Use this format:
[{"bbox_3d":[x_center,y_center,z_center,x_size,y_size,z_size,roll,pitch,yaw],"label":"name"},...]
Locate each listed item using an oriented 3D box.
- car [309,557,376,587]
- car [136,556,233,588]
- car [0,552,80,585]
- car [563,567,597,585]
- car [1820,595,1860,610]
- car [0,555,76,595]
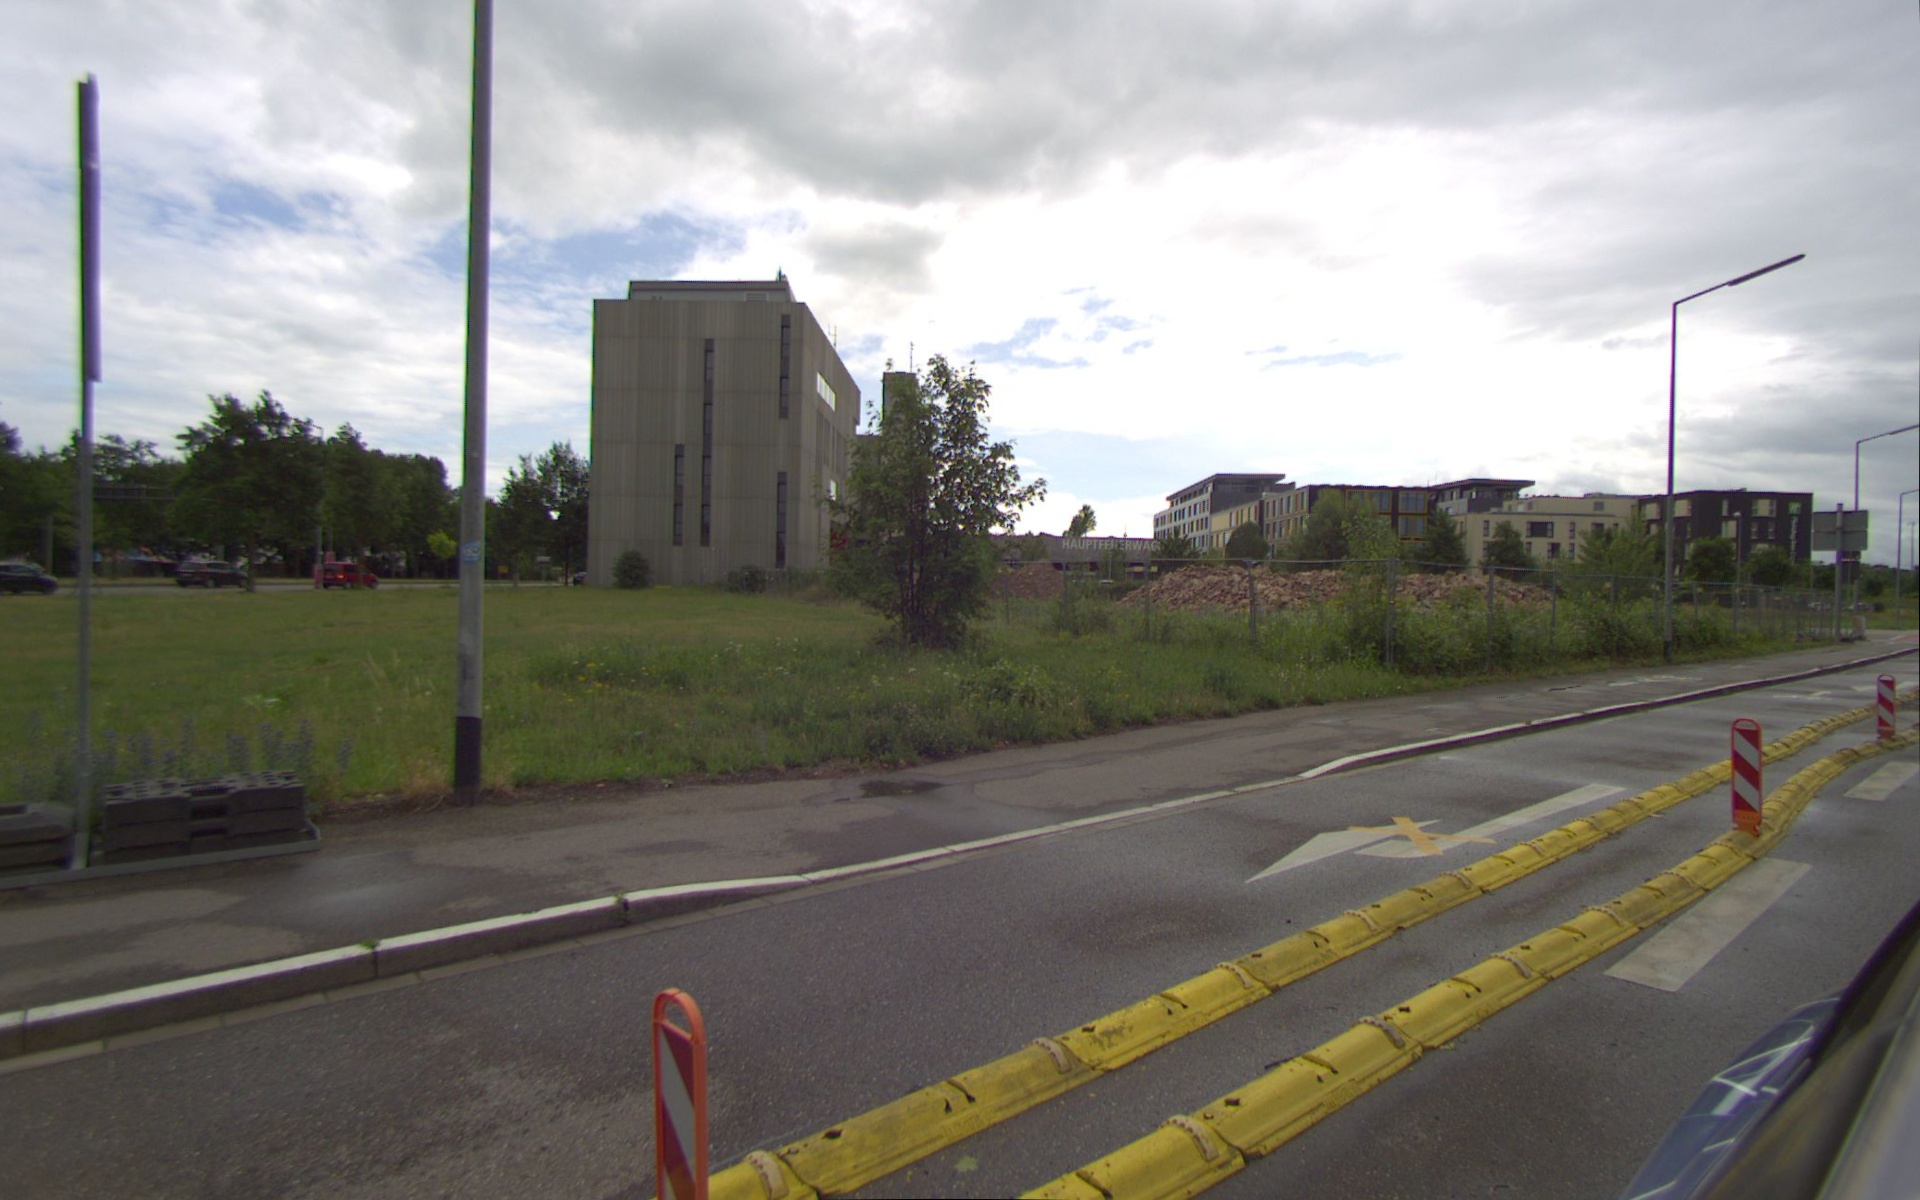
[{"bbox_3d":[-42.515,-1.931,69.796,2.075,1.941,4.209,1,1,-1],"label":"car"},{"bbox_3d":[-46.112,-1.661,60.311,2.077,1.818,4.605,1,1,3],"label":"car"},{"bbox_3d":[-59.602,-2.008,64.825,1.965,2.039,4.934,1,1,6],"label":"car"},{"bbox_3d":[-39.956,-2.543,106.534,2.038,1.836,4.209,1,1,-1],"label":"car"},{"bbox_3d":[127.932,0.300,147.082,3.925,2.039,2.000,2,1,1],"label":"car"},{"bbox_3d":[-44.155,-1.162,46.900,2.079,1.818,4.601,1,1,6],"label":"car"}]
